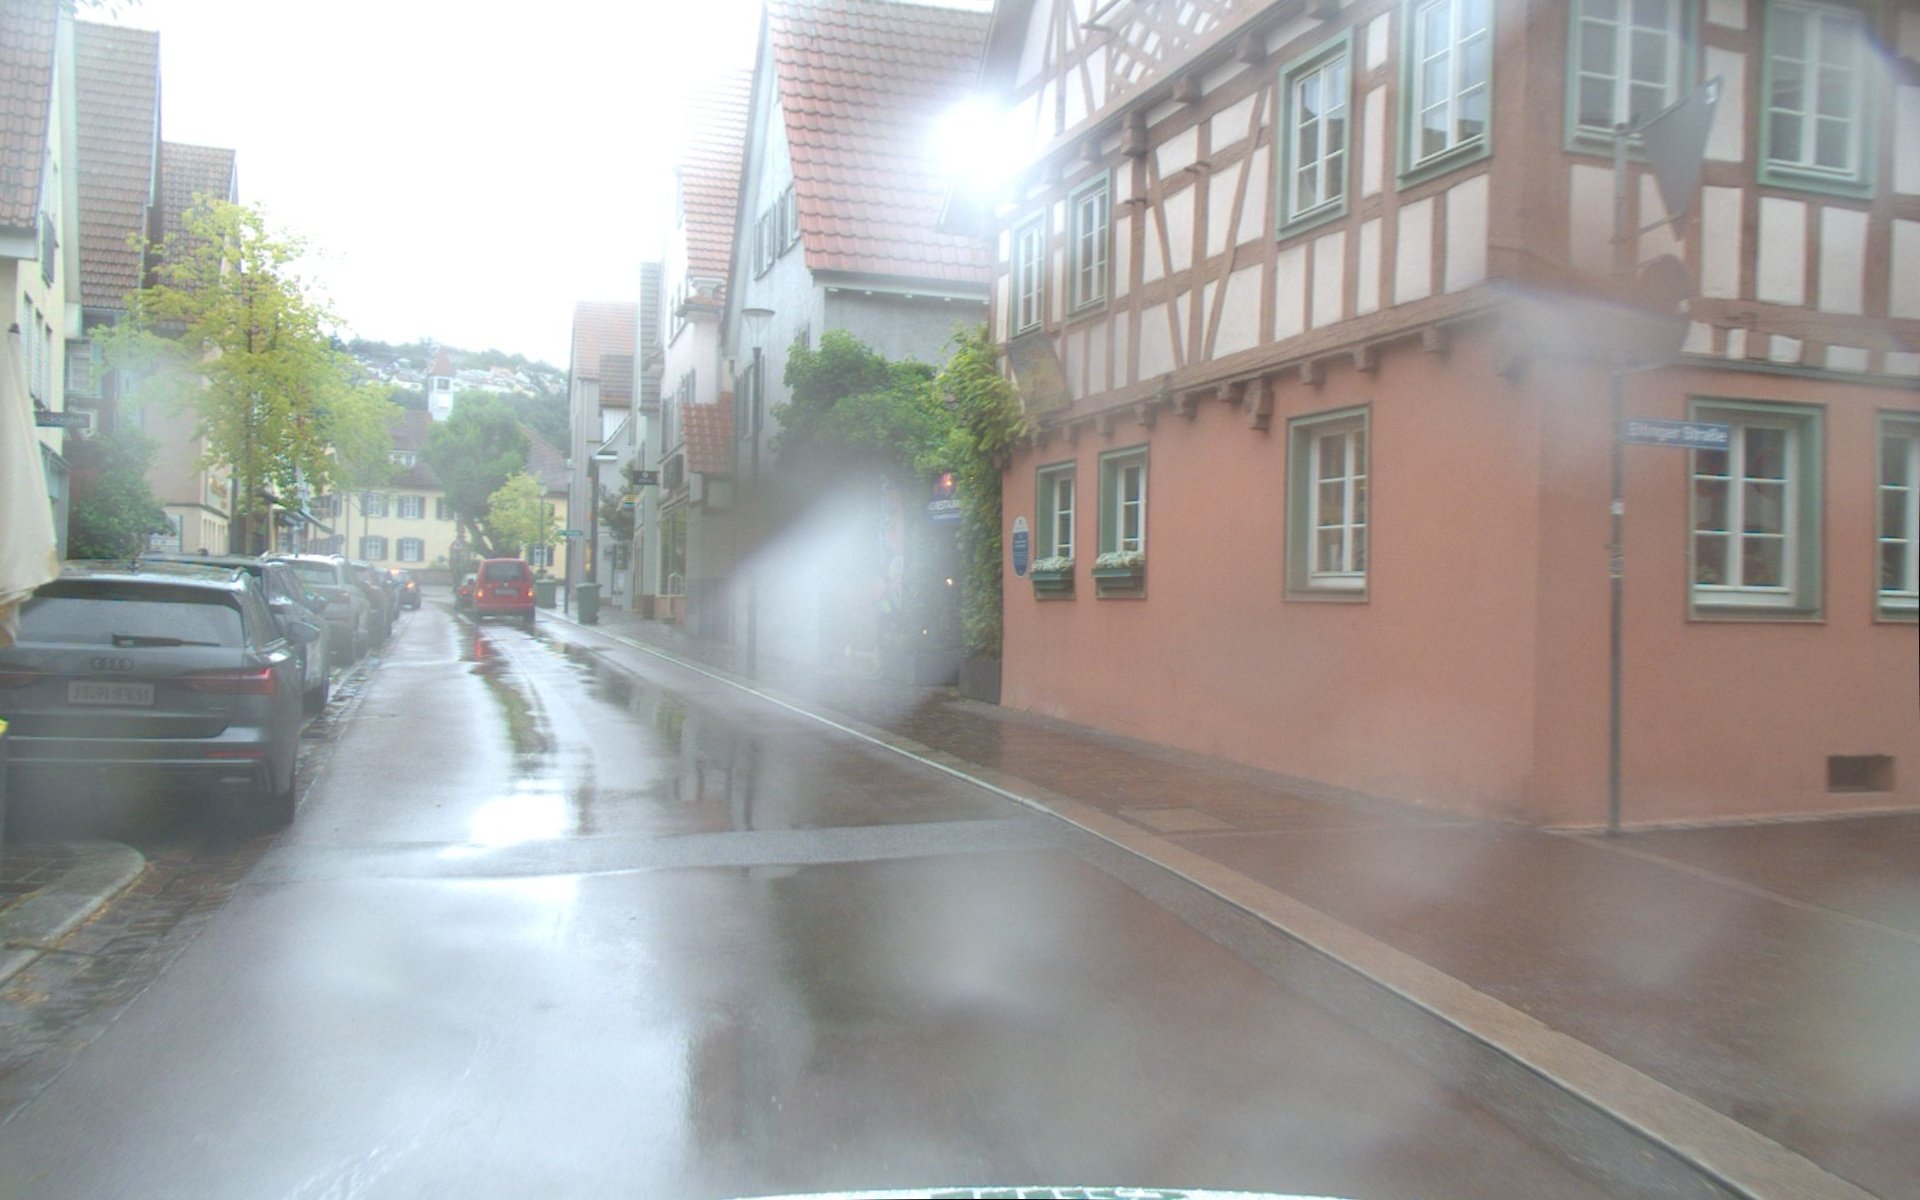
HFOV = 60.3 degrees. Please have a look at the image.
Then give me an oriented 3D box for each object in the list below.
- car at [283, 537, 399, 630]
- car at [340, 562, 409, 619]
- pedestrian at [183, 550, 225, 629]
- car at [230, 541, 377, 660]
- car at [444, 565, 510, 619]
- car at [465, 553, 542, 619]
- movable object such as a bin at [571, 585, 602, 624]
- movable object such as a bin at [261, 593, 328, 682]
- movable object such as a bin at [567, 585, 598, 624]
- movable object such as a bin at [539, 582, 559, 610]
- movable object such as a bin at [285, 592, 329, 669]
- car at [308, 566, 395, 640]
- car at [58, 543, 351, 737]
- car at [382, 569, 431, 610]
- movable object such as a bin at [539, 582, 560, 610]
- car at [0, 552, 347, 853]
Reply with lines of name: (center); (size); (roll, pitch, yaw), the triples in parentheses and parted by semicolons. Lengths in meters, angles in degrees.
car: (-12.481, -0.272, 33.570); (1.795, 1.695, 4.621); (2, -2, -16)
car: (-17.541, -0.319, 49.667); (1.665, 1.565, 4.102); (2, 1, -17)
pedestrian: (-16.866, -0.214, 36.912); (0.778, 1.711, 1.168); (2, -2, -24)
car: (-10.488, 0.056, 26.695); (1.795, 1.695, 4.619); (2, -2, -17)
car: (-17.842, -0.262, 61.020); (1.965, 1.831, 3.974); (2, -2, -21)
car: (-13.838, -0.446, 49.999); (1.866, 1.843, 3.977); (3, 0, -20)
movable object such as a bin: (-10.572, 0.135, 46.762); (0.781, 1.099, 0.611); (1, -1, -21)
movable object such as a bin: (-8.564, 0.485, 21.307); (0.735, 1.102, 0.740); (2, -2, -20)
movable object such as a bin: (-10.825, 0.131, 47.405); (0.784, 1.099, 0.579); (1, -1, -21)
movable object such as a bin: (-16.948, -0.164, 68.118); (0.742, 1.082, 0.597); (2, -2, -17)
movable object such as a bin: (-9.272, 0.430, 23.506); (0.543, 1.064, 0.531); (2, -2, -22)
car: (-14.430, 0.033, 39.395); (1.753, 1.565, 4.267); (3, 0, -19)
car: (-7.099, 0.329, 15.996); (1.831, 1.551, 4.310); (3, 0, -16)
car: (-21.772, -0.427, 65.157); (1.665, 1.468, 3.867); (2, 1, -17)
movable object such as a bin: (-16.762, -0.175, 67.510); (0.756, 1.098, 0.596); (2, -2, -17)
car: (-4.899, 0.470, 10.432); (1.834, 1.467, 4.593); (1, 1, -20)
